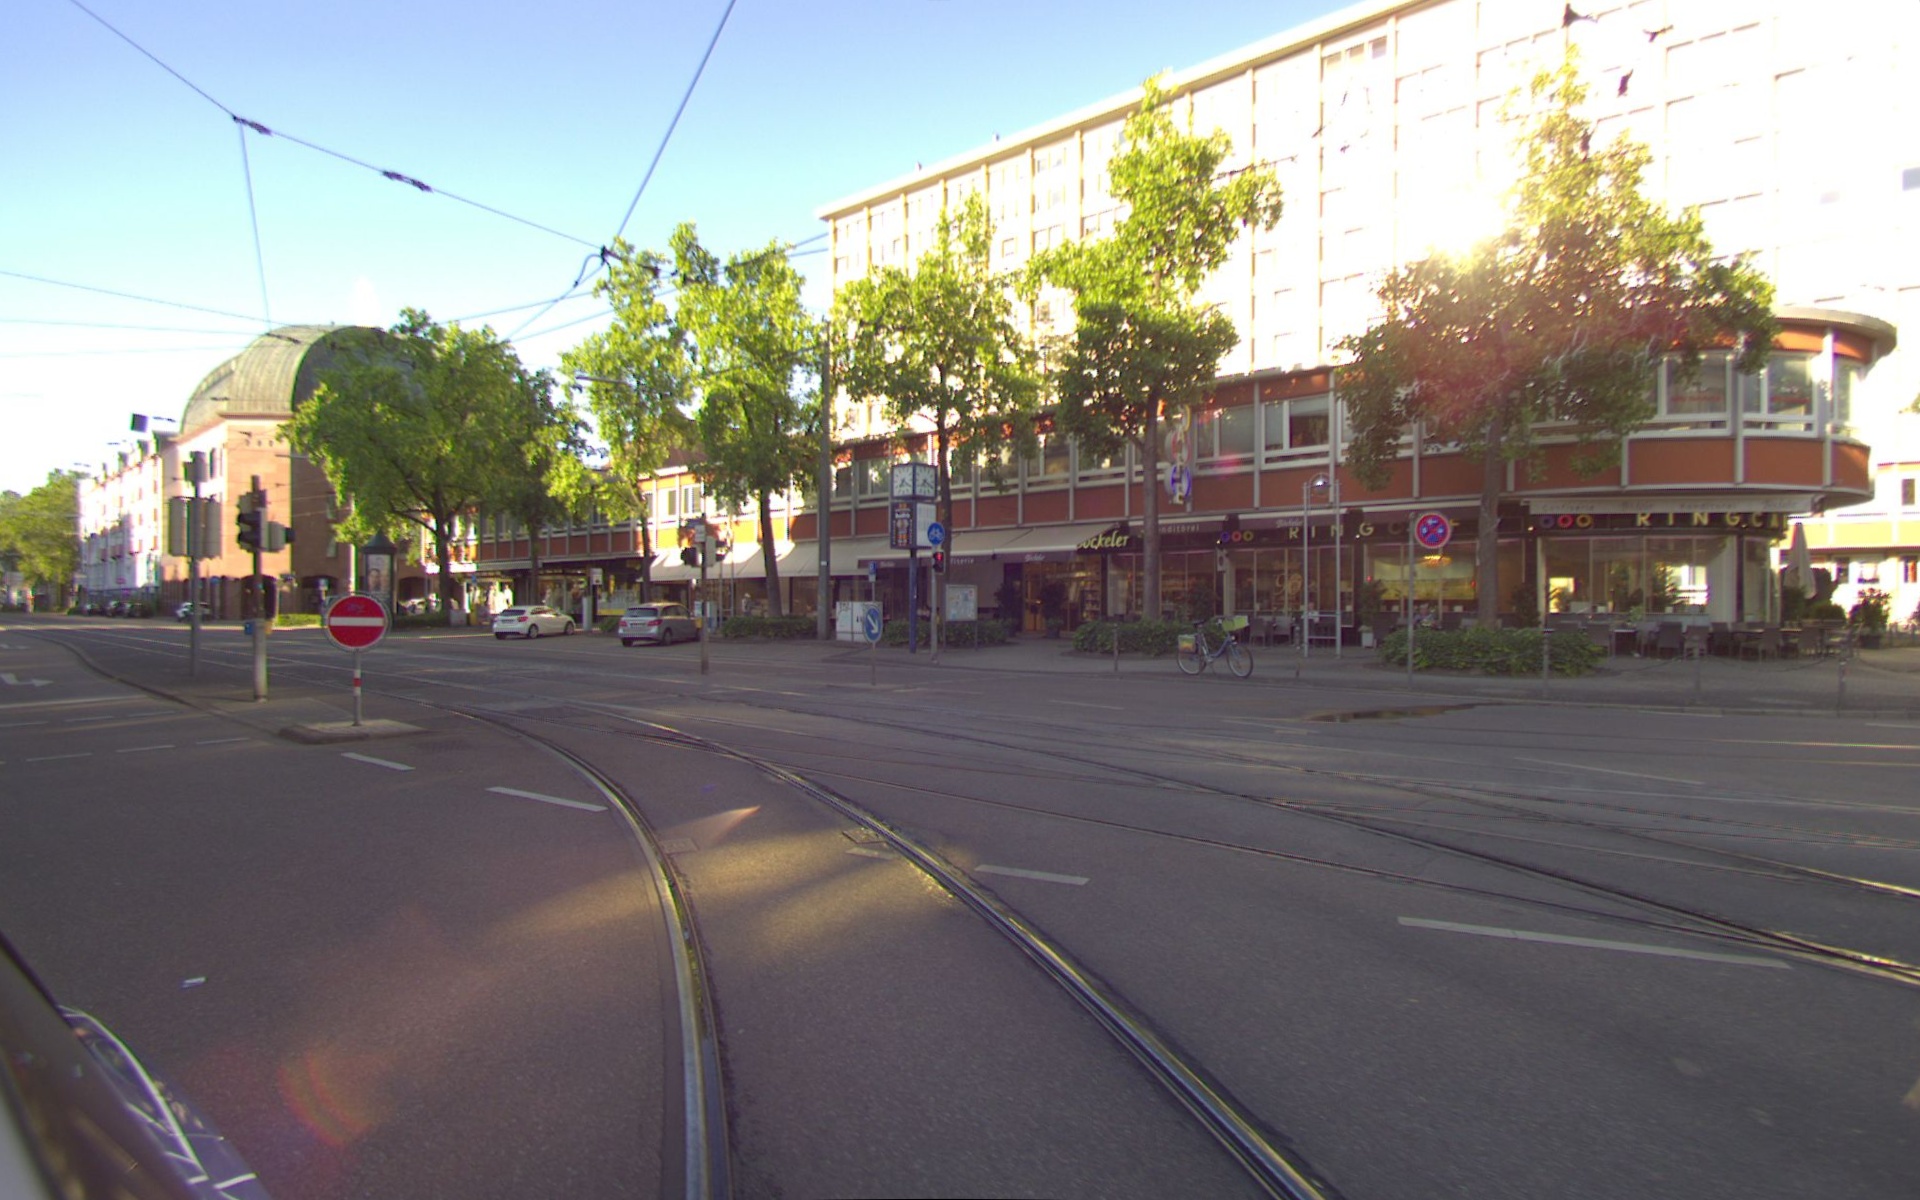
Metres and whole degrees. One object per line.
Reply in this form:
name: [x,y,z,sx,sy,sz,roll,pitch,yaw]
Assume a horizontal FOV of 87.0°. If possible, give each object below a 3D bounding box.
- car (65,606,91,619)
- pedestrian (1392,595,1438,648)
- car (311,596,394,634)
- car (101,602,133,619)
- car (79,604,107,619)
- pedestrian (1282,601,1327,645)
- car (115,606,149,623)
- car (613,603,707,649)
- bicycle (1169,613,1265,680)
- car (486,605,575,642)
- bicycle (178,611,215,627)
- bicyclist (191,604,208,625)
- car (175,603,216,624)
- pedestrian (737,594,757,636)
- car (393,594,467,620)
car: [-112.486,1.576,129.038,3.998,1.615,1.939,0,1,41]
pedestrian: [12.422,0.570,27.638,0.891,1.407,0.923,0,-1,44]
car: [-34.166,0.827,57.040,1.889,1.979,3.991,0,1,8]
car: [-87.335,1.065,104.880,3.998,1.615,1.939,0,1,41]
car: [-101.105,1.310,118.022,3.998,1.615,1.939,0,1,41]
pedestrian: [10.081,0.657,29.633,0.826,1.272,0.910,0,0,-32]
car: [-82.485,1.415,100.786,3.998,1.615,1.939,0,1,41]
car: [-11.254,0.928,38.268,1.779,1.565,3.986,0,1,11]
bicycle: [5.120,0.898,20.272,0.574,1.244,1.859,-1,1,-42]
car: [-19.229,1.022,45.491,1.779,1.486,3.986,0,1,11]
bicycle: [-53.703,1.360,71.167,2.005,1.100,0.675,0,0,-11]
bicyclist: [-53.528,1.007,71.200,0.751,1.433,0.675,0,0,-11]
car: [-62.426,1.087,82.601,3.998,1.615,1.886,0,1,41]
pedestrian: [-9.209,0.637,43.785,0.626,1.782,0.771,0,1,-31]
car: [-42.784,0.581,81.808,1.999,2.029,4.919,0,0,41]
